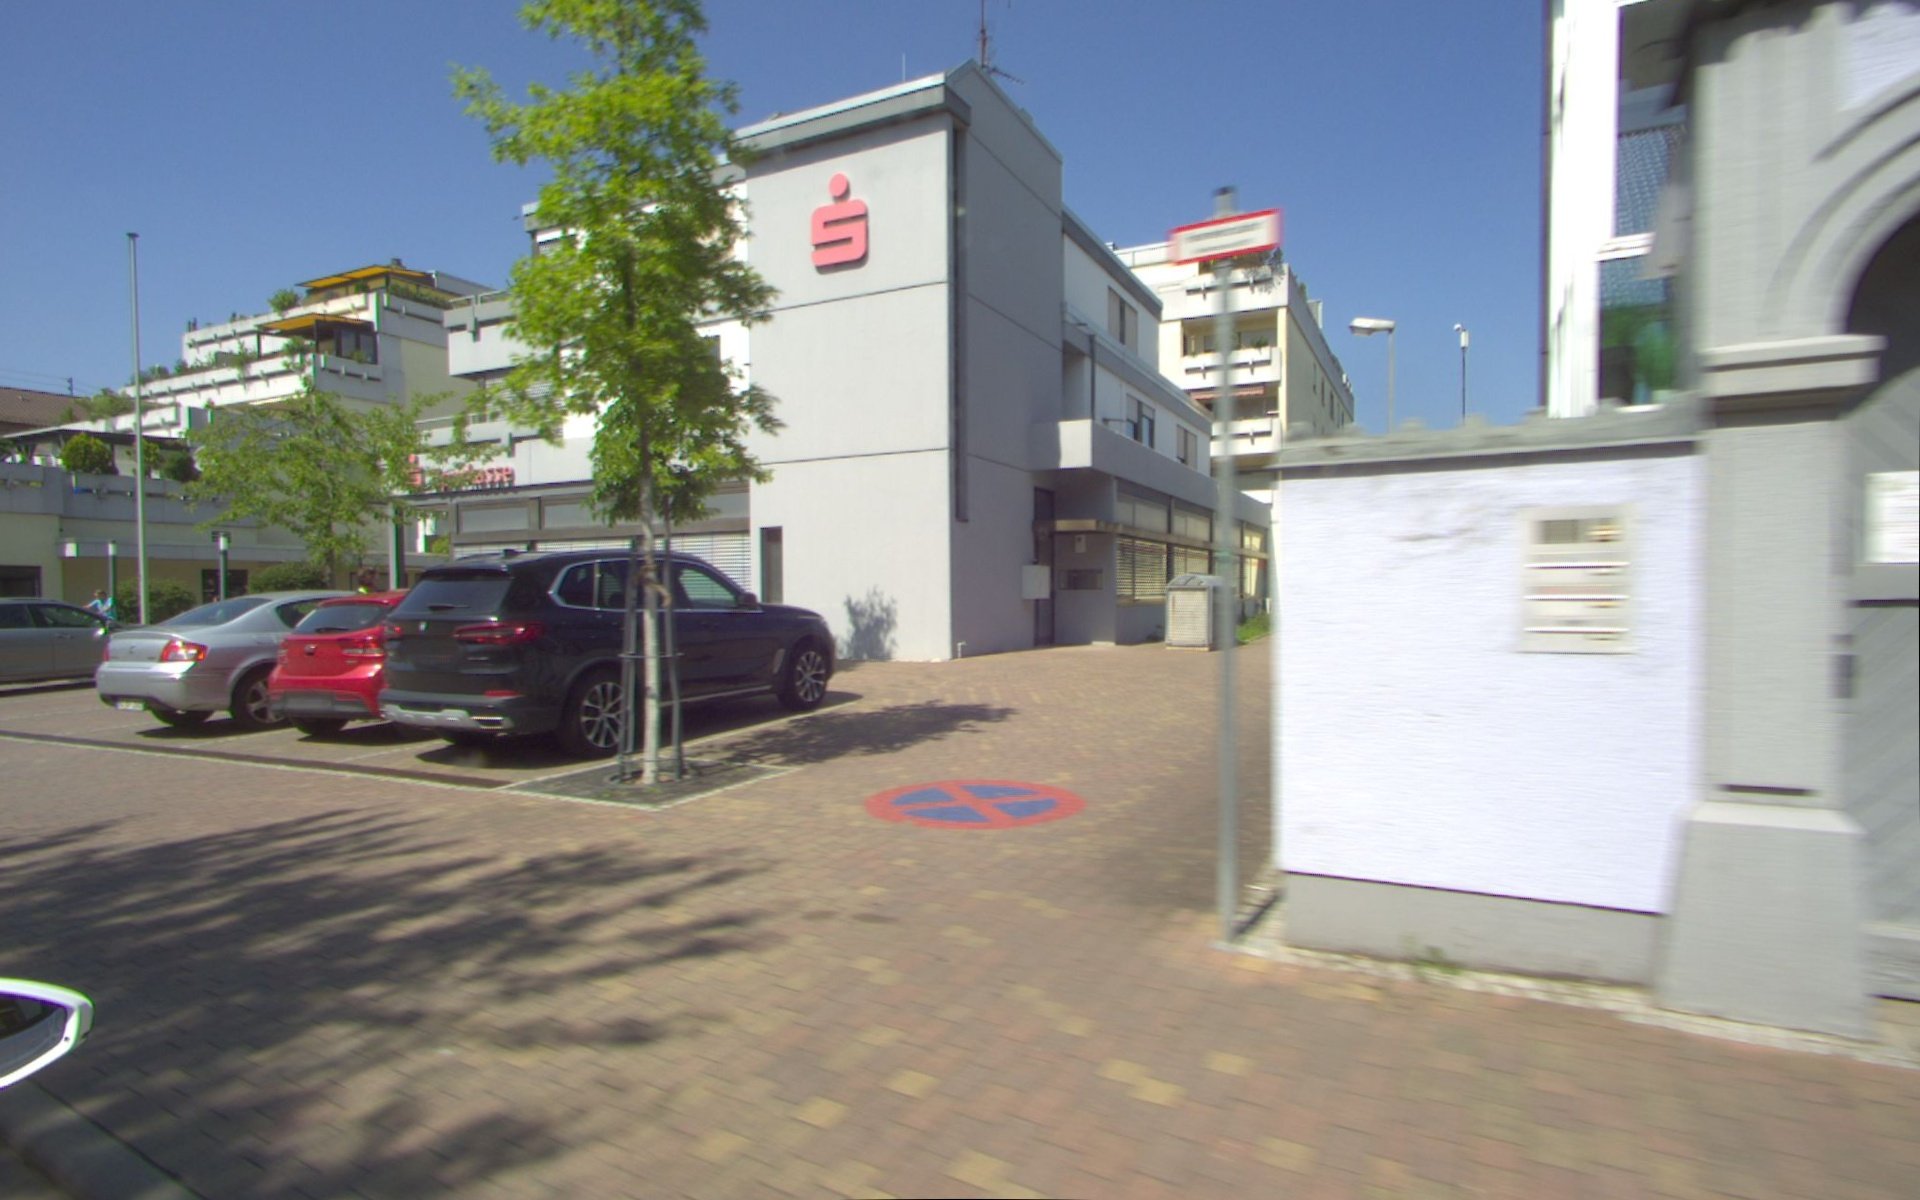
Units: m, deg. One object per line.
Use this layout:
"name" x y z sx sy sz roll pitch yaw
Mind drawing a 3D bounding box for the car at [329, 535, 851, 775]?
"car" -3.301 0.312 10.027 2.115 1.796 4.622 1 3 29

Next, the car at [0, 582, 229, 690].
"car" -14.779 0.552 16.040 1.885 1.533 4.574 -1 2 24

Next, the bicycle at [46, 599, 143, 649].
"bicycle" -21.597 0.578 25.047 0.663 1.124 1.894 -1 2 4

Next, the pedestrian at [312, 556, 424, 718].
"pedestrian" -6.583 0.388 11.166 0.687 1.741 0.748 0 3 23

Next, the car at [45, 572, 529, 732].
"car" -7.677 0.451 12.054 1.809 1.460 4.534 0 2 24

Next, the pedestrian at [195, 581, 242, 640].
"pedestrian" -19.489 0.270 26.333 0.696 1.541 0.797 0 1 33

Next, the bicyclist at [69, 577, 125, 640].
"bicyclist" -21.603 0.195 25.084 0.658 1.548 0.761 -1 3 4

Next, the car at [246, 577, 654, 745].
"car" -5.336 0.514 11.029 1.716 1.472 3.728 0 2 24

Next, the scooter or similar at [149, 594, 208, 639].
"scooter or similar" -19.969 0.420 25.590 0.619 1.121 1.037 0 1 33
